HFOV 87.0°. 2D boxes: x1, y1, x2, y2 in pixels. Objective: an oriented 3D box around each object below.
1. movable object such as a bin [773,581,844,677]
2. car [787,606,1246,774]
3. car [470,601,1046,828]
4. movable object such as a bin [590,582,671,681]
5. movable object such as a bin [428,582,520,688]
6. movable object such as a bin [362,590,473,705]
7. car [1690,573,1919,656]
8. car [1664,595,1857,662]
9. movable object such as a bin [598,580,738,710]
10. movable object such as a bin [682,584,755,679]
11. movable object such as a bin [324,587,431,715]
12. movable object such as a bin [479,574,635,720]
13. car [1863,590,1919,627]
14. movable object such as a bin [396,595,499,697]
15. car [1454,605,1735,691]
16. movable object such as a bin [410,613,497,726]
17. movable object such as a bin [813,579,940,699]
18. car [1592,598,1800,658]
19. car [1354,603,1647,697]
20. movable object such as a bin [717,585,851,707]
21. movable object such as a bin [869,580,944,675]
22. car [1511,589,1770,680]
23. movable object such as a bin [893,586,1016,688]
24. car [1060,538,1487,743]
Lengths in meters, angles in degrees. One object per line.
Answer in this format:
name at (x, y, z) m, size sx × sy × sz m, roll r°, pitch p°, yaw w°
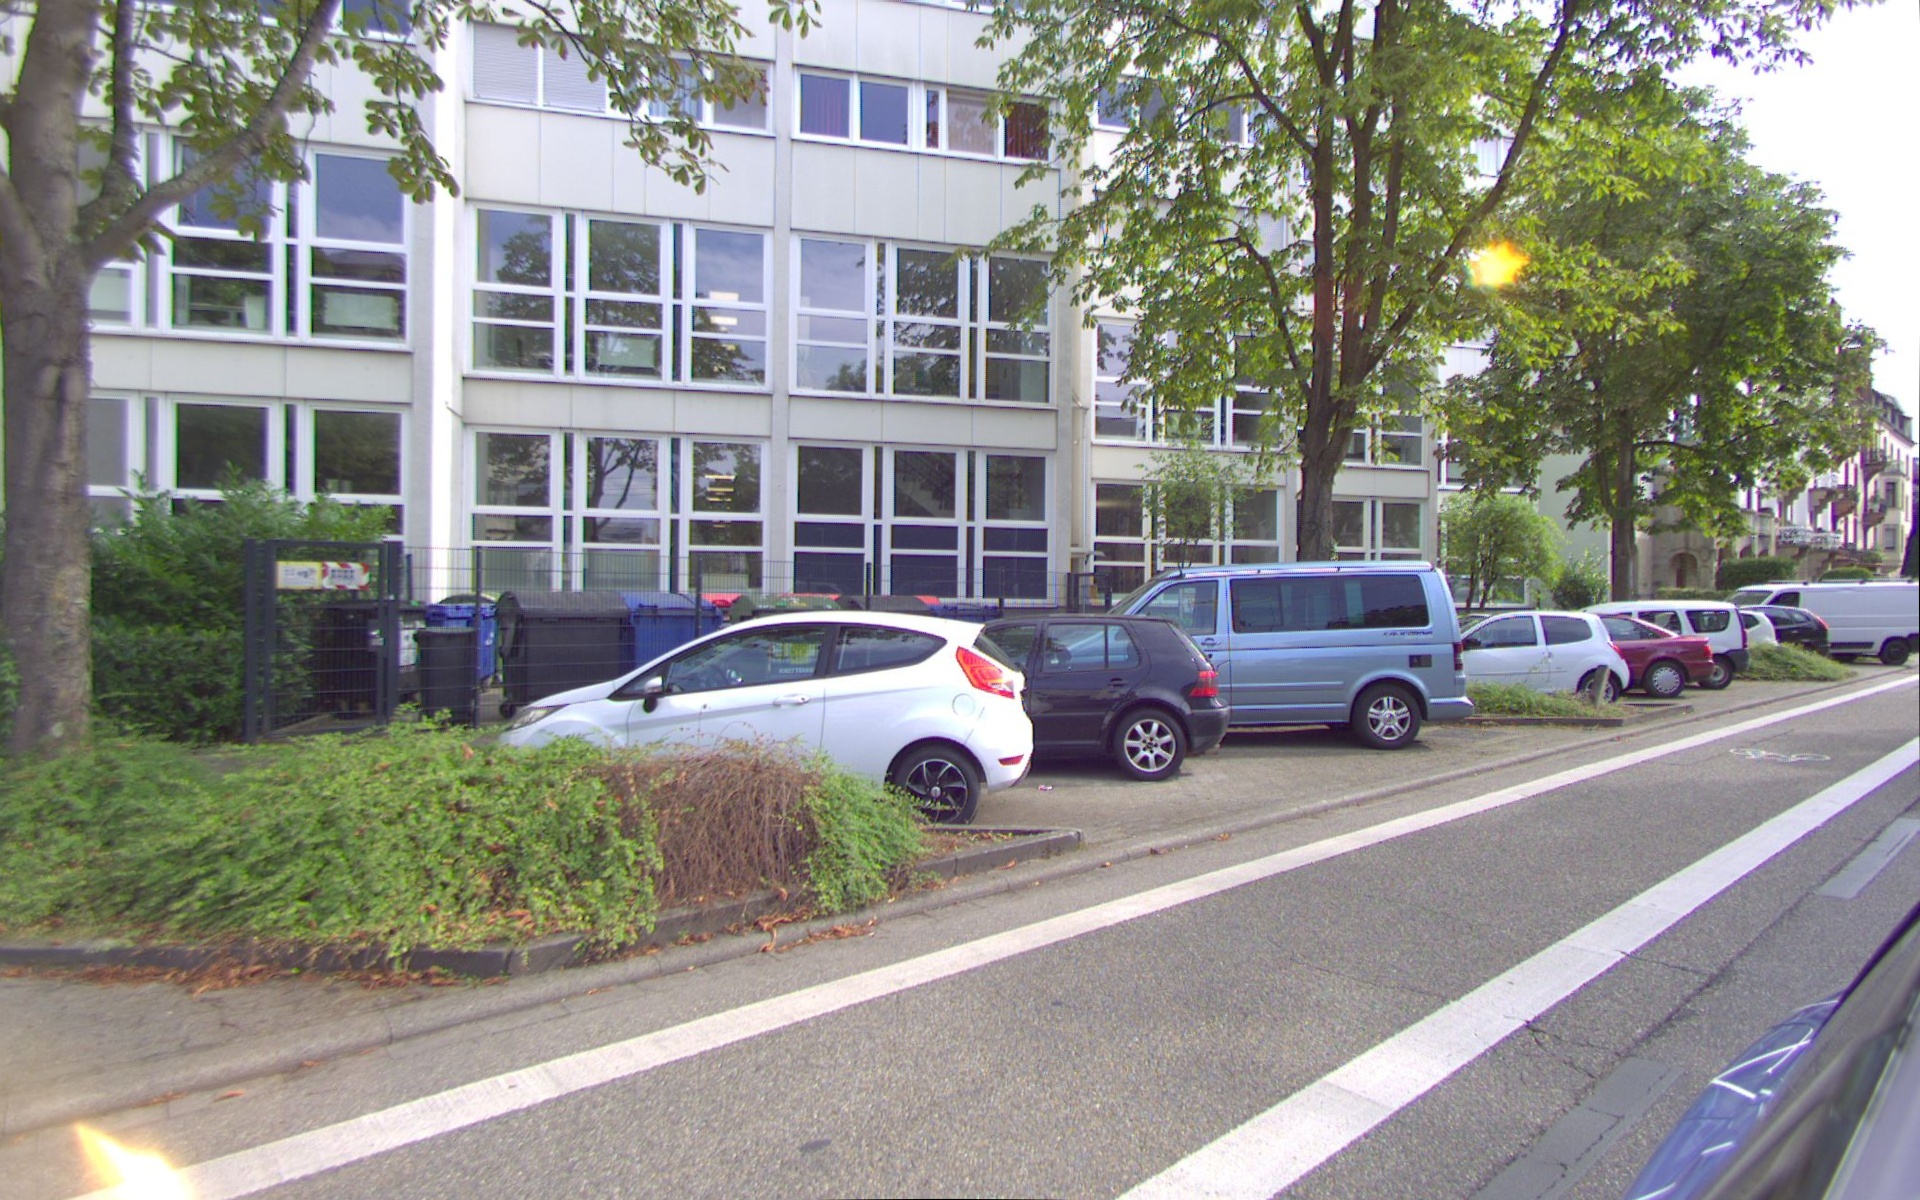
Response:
movable object such as a bin at (-2.627, 0.477, 17.445) m, size 1.150 × 1.588 × 1.182 m, roll 0°, pitch 0°, yaw -12°
car at (0.507, 0.770, 9.553) m, size 3.902 × 1.405 × 1.812 m, roll 0°, pitch -1°, yaw 5°
car at (-1.301, 0.728, 7.377) m, size 3.792 × 1.410 × 1.632 m, roll 0°, pitch 0°, yaw 4°
movable object such as a bin at (-5.478, 0.500, 16.907) m, size 1.150 × 1.588 × 1.182 m, roll 0°, pitch 0°, yaw -12°
movable object such as a bin at (-7.561, 0.521, 15.812) m, size 1.155 × 1.588 × 1.177 m, roll 0°, pitch 0°, yaw -19°
movable object such as a bin at (-7.011, 0.584, 13.150) m, size 1.095 × 1.409 × 1.065 m, roll 0°, pitch 0°, yaw -19°
car at (23.946, 0.372, 28.240) m, size 5.349 × 2.203 × 2.143 m, roll 0°, pitch 0°, yaw 9°
car at (20.746, 0.688, 26.409) m, size 3.605 × 1.609 × 1.753 m, roll 0°, pitch 0°, yaw 24°
movable object such as a bin at (-3.683, 0.519, 12.733) m, size 1.312 × 1.523 × 1.335 m, roll 0°, pitch 0°, yaw -36°
movable object such as a bin at (-4.045, 0.504, 17.049) m, size 1.150 × 1.533 × 1.182 m, roll 0°, pitch 0°, yaw -12°
movable object such as a bin at (-6.777, 0.561, 11.835) m, size 0.893 × 1.425 × 1.026 m, roll 0°, pitch 0°, yaw -19°
movable object such as a bin at (-4.674, 0.496, 11.707) m, size 1.389 × 1.549 × 1.330 m, roll 0°, pitch 0°, yaw -36°
car at (44.758, 0.401, 47.129) m, size 3.605 × 1.697 × 1.753 m, roll 0°, pitch 0°, yaw 24°
movable object such as a bin at (-7.289, 0.619, 14.461) m, size 1.155 × 1.387 × 1.177 m, roll 0°, pitch 0°, yaw -19°
car at (10.895, 0.786, 17.640) m, size 3.708 × 1.355 × 1.810 m, roll 0°, pitch 0°, yaw 9°
movable object such as a bin at (-5.372, 0.711, 10.720) m, size 0.729 × 1.119 × 0.786 m, roll 0°, pitch 0°, yaw -34°
movable object such as a bin at (-1.202, 0.518, 14.466) m, size 1.328 × 1.616 × 1.335 m, roll 0°, pitch 0°, yaw -36°
car at (17.400, 0.632, 24.076) m, size 3.580 × 1.347 × 1.766 m, roll 0°, pitch 0°, yaw 5°
car at (8.257, 0.727, 15.739) m, size 3.580 × 1.347 × 1.766 m, roll 0°, pitch 0°, yaw 5°
movable object such as a bin at (-2.375, 0.573, 13.611) m, size 1.328 × 1.521 × 1.335 m, roll 0°, pitch 0°, yaw -36°
movable object such as a bin at (-0.957, 0.462, 17.746) m, size 1.150 × 1.588 × 1.182 m, roll 0°, pitch 0°, yaw -12°
car at (13.015, 0.614, 19.577) m, size 3.708 × 1.638 × 1.810 m, roll 0°, pitch 0°, yaw 9°
movable object such as a bin at (-0.085, 0.527, 15.516) m, size 1.374 × 1.477 × 1.335 m, roll 0°, pitch 0°, yaw -36°
car at (3.316, 0.399, 11.490) m, size 4.268 × 2.090 × 1.998 m, roll 0°, pitch 0°, yaw 5°
